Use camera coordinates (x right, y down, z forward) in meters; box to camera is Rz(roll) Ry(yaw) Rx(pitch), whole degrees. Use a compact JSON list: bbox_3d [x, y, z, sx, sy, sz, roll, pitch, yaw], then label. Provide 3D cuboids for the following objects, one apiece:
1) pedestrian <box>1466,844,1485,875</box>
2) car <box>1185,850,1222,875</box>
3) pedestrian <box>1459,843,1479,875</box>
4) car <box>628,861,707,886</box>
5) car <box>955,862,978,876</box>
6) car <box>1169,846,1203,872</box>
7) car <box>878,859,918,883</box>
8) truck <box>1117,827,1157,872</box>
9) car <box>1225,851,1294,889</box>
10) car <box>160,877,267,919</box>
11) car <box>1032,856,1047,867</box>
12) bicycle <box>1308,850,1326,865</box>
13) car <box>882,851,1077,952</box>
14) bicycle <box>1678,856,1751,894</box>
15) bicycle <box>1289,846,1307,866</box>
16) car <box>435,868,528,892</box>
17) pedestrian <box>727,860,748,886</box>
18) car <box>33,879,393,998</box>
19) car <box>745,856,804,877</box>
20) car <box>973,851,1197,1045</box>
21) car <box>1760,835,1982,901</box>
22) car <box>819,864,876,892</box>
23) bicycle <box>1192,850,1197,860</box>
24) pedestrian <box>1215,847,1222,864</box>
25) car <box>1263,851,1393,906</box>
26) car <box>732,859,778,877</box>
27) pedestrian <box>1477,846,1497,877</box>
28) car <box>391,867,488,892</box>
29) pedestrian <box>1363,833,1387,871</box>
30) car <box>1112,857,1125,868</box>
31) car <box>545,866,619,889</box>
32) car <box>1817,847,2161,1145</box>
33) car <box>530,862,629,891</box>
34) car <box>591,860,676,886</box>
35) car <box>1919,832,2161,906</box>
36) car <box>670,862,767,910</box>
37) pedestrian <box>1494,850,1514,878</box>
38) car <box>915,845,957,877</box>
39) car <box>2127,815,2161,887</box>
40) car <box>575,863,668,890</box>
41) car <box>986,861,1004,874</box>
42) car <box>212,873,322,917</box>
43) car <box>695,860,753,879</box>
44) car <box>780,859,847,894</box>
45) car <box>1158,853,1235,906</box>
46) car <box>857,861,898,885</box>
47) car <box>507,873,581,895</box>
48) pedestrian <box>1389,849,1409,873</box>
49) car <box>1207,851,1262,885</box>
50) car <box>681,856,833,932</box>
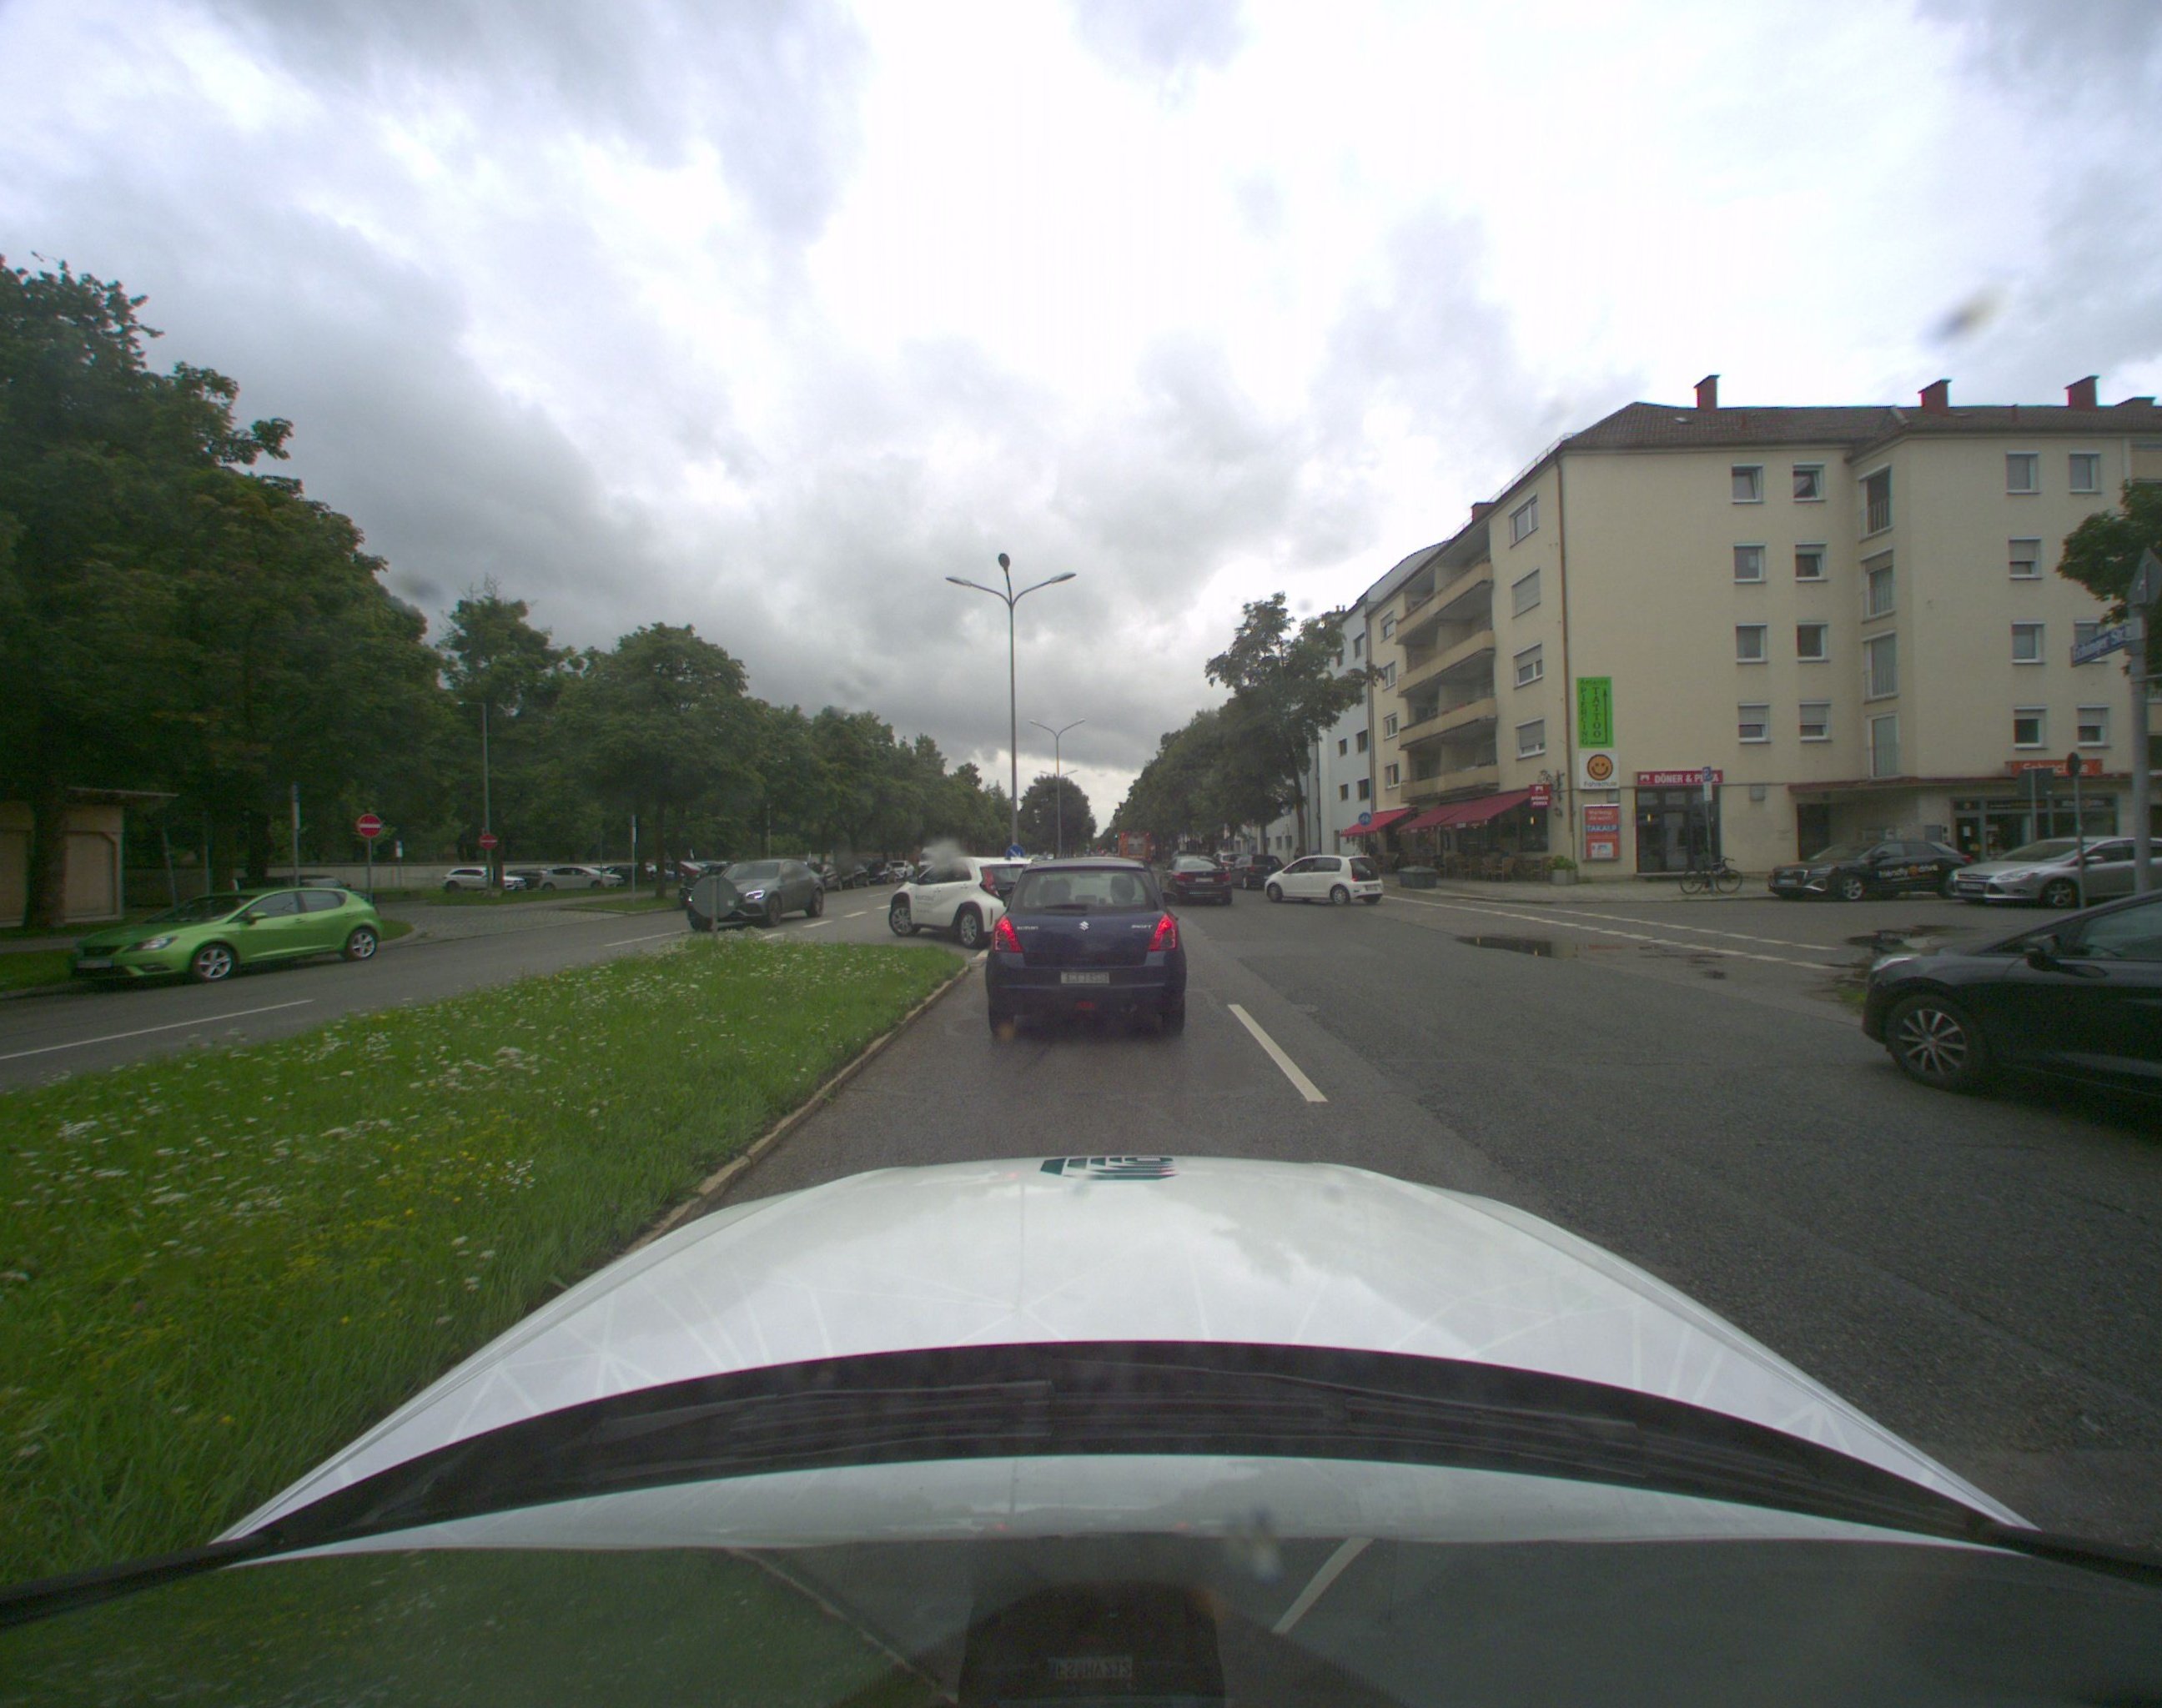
[{"bbox_3d":[16.348,0.232,33.778,0.536,1.268,0.487,-1,0,0],"label":"pedestrian"},{"bbox_3d":[7.949,0.542,53.108,1.823,1.522,3.770,-1,0,0],"label":"car"},{"bbox_3d":[16.537,0.201,34.706,0.536,1.339,0.552,-1,0,0],"label":"pedestrian"},{"bbox_3d":[-26.334,1.244,51.924,3.980,1.442,1.997,-1,0,-5],"label":"car"},{"bbox_3d":[-12.386,1.624,87.956,1.851,1.491,4.141,-1,-1,0],"label":"car"},{"bbox_3d":[7.378,0.345,57.484,1.823,1.746,4.507,-1,0,0],"label":"car"},{"bbox_3d":[-13.081,1.201,58.482,1.816,1.527,4.298,-3,-1,0],"label":"car"},{"bbox_3d":[4.800,-0.399,72.423,3.030,3.557,13.681,-1,0,2],"label":"truck"},{"bbox_3d":[7.403,0.624,34.099,1.825,1.473,3.883,-1,0,-4],"label":"car"},{"bbox_3d":[-32.766,1.616,30.734,4.411,1.409,1.871,-1,0,31],"label":"car"},{"bbox_3d":[-5.857,1.003,114.463,1.809,1.448,4.782,-2,0,0],"label":"car"},{"bbox_3d":[16.487,0.243,56.956,0.619,1.046,2.196,-1,0,1],"label":"bicycle"},{"bbox_3d":[-1.938,0.754,14.739,1.836,1.553,3.678,-1,0,-38],"label":"car"},{"bbox_3d":[17.507,0.585,22.531,1.532,1.011,0.554,-1,0,4],"label":"bicycle"},{"bbox_3d":[16.368,0.131,61.446,0.700,1.407,2.593,-3,0,1],"label":"bicycle"},{"bbox_3d":[-38.437,1.654,52.264,4.486,1.442,2.002,-1,0,3],"label":"car"},{"bbox_3d":[-20.723,1.127,49.145,0.792,1.495,0.856,-2,0,1],"label":"pedestrian"},{"bbox_3d":[-14.259,1.284,13.788,1.634,1.499,4.002,-3,0,2],"label":"car"},{"bbox_3d":[-24.532,1.016,65.196,3.971,1.570,1.816,-1,0,2],"label":"car"},{"bbox_3d":[0.102,0.739,8.432,1.746,1.505,4.002,-1,0,2],"label":"car"},{"bbox_3d":[19.660,0.331,20.388,3.913,1.519,1.730,-1,0,-1],"label":"car"},{"bbox_3d":[-13.413,1.375,46.985,1.814,1.409,4.004,-3,0,3],"label":"car"},{"bbox_3d":[16.485,0.140,118.159,0.578,1.463,1.689,-1,0,1],"label":"bicycle"},{"bbox_3d":[14.286,0.201,84.469,0.498,1.733,0.733,-3,0,1],"label":"pedestrian"},{"bbox_3d":[7.317,0.691,24.372,1.699,1.490,3.397,-1,0,-35],"label":"car"},{"bbox_3d":[-37.728,1.634,94.428,4.490,2.034,2.000,-1,0,0],"label":"car"},{"bbox_3d":[16.334,0.293,32.792,0.536,1.214,0.487,-1,0,1],"label":"pedestrian"},{"bbox_3d":[-39.213,1.551,49.834,4.484,1.442,2.003,-1,0,5],"label":"car"},{"bbox_3d":[15.298,-0.086,42.359,0.870,1.929,0.757,-1,0,-15],"label":"pedestrian"},{"bbox_3d":[5.526,1.179,119.899,1.822,1.522,3.772,-1,0,1],"label":"car"},{"bbox_3d":[-38.774,1.816,63.378,4.490,1.625,2.000,-1,0,0],"label":"car"},{"bbox_3d":[6.222,0.709,4.032,1.638,1.477,3.957,-1,0,1],"label":"car"},{"bbox_3d":[-26.699,1.181,43.462,3.980,1.442,1.997,-1,0,-5],"label":"car"},{"bbox_3d":[-26.808,1.104,48.880,3.980,1.442,1.997,-1,0,-5],"label":"car"},{"bbox_3d":[21.248,0.291,17.614,4.194,1.442,2.000,-1,0,0],"label":"car"},{"bbox_3d":[-13.770,1.179,31.229,1.815,1.700,4.238,-1,-1,0],"label":"car"},{"bbox_3d":[16.219,0.363,31.231,0.536,1.054,0.487,-1,0,1],"label":"pedestrian"},{"bbox_3d":[-12.830,0.573,72.521,2.132,2.643,7.107,-3,0,2],"label":"car"},{"bbox_3d":[30.743,-0.121,21.020,4.968,1.885,1.999,-1,0,-1],"label":"car"},{"bbox_3d":[-26.174,1.265,46.469,4.123,1.442,1.999,-1,0,-2],"label":"car"},{"bbox_3d":[-11.309,1.721,107.569,1.881,1.537,4.313,-4,0,-1],"label":"car"},{"bbox_3d":[-28.767,1.416,28.769,3.809,1.409,1.871,-1,0,31],"label":"car"},{"bbox_3d":[-29.890,1.314,68.332,3.980,1.442,1.997,-1,0,-5],"label":"car"},{"bbox_3d":[-13.445,1.092,41.138,1.814,1.599,4.115,-1,0,3],"label":"car"},{"bbox_3d":[3.491,0.722,25.356,1.815,1.477,4.691,1,0,1],"label":"car"},{"bbox_3d":[-13.262,1.211,53.279,1.817,1.447,3.995,-3,0,-3],"label":"car"},{"bbox_3d":[-37.572,2.096,57.040,3.967,1.372,1.881,-1,0,6],"label":"car"},{"bbox_3d":[15.941,0.351,40.788,0.741,1.163,0.647,-1,0,1],"label":"pedestrian"},{"bbox_3d":[7.395,0.627,39.747,1.823,1.522,4.523,-1,0,0],"label":"car"},{"bbox_3d":[-7.835,0.888,20.219,1.815,1.589,4.503,-1,1,1],"label":"car"}]
